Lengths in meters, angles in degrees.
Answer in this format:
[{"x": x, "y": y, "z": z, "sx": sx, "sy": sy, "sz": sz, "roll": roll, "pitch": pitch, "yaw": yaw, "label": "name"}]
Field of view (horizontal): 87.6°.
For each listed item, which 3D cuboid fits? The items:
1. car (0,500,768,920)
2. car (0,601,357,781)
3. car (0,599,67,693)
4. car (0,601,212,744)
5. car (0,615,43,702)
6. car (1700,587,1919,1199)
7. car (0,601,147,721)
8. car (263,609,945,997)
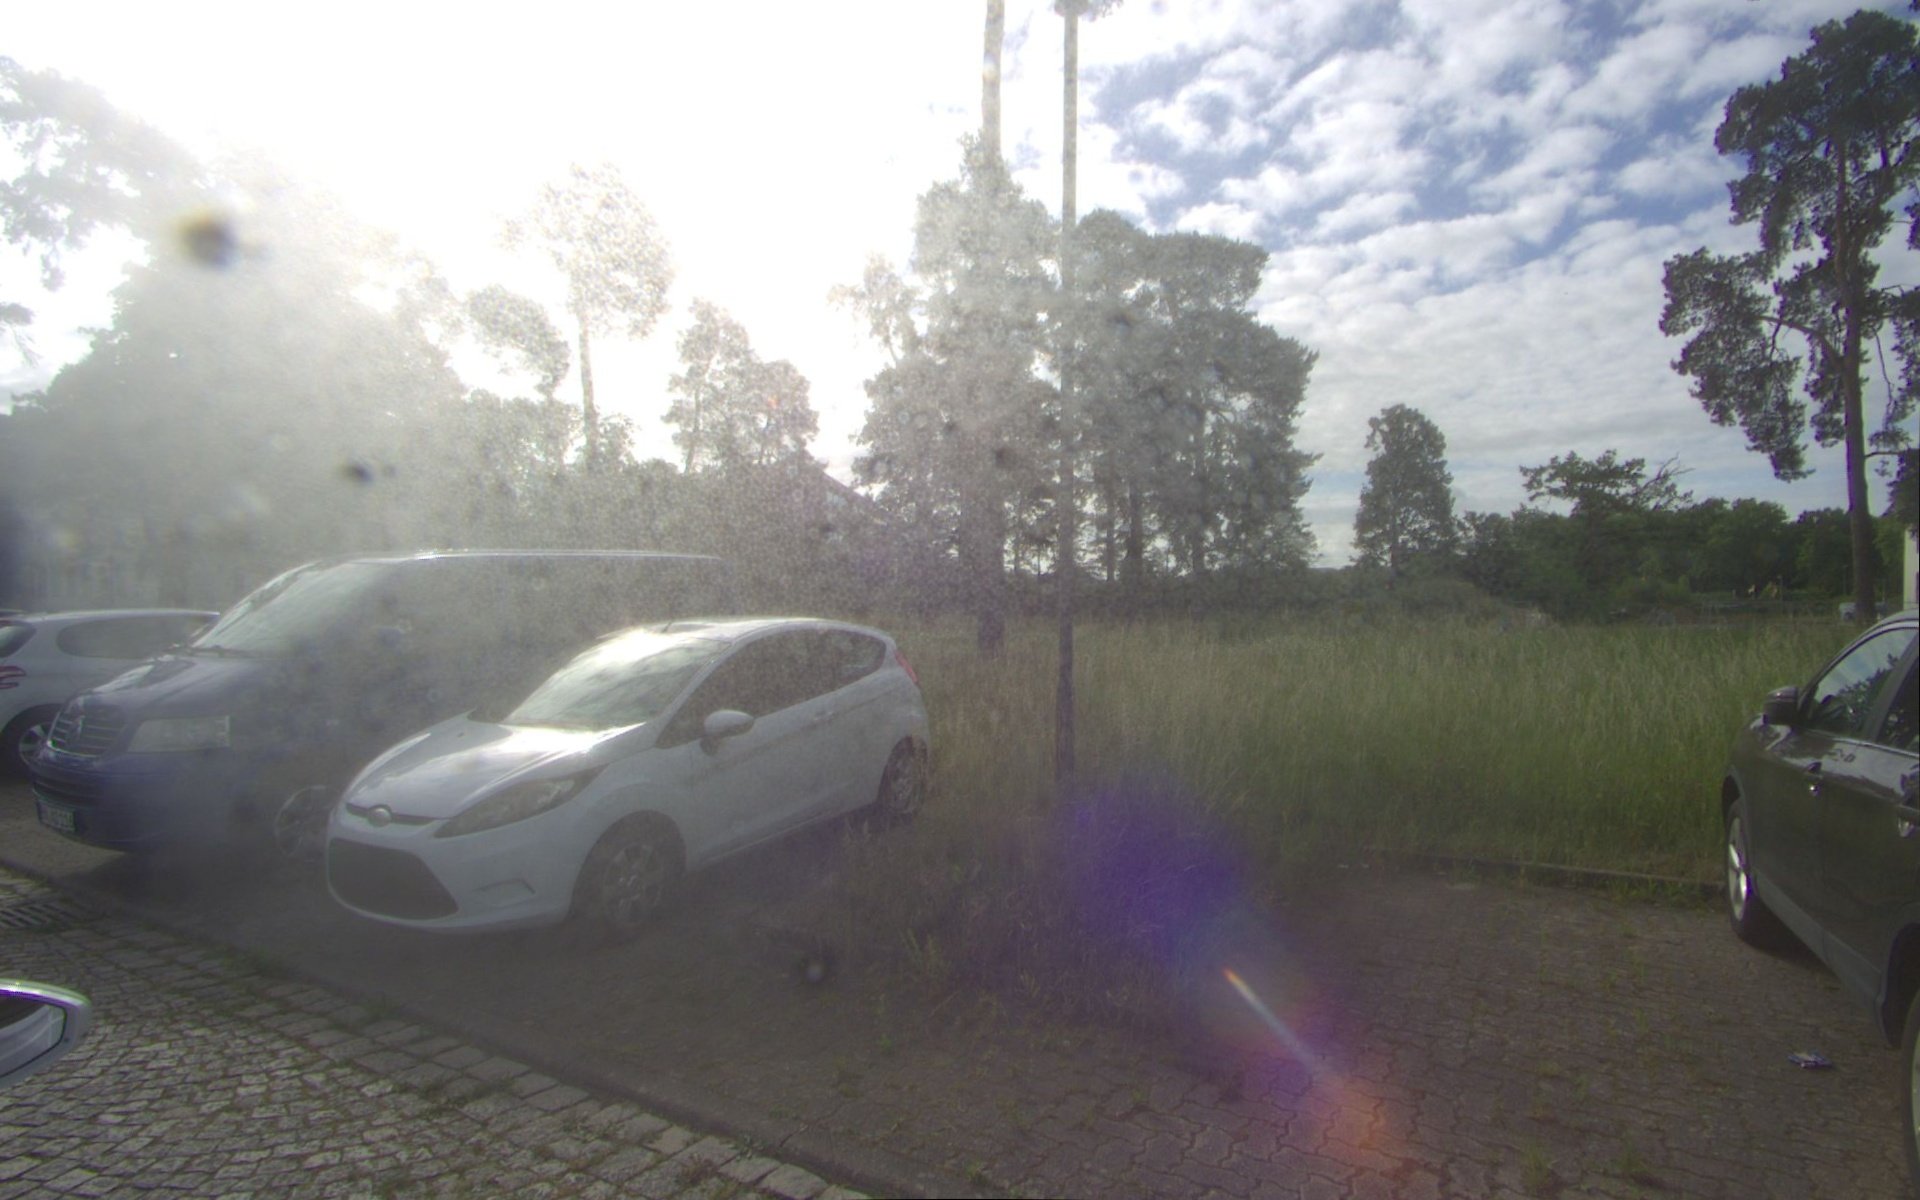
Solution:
[{"x": -3.669, "y": 0.563, "z": 7.438, "sx": 1.712, "sy": 2.067, "sz": 4.776, "roll": 1, "pitch": 0, "yaw": 30, "label": "car"}, {"x": -8.231, "y": 0.783, "z": 10.144, "sx": 1.638, "sy": 1.524, "sz": 3.289, "roll": 1, "pitch": 0, "yaw": 29, "label": "car"}, {"x": -17.154, "y": 0.748, "z": 16.005, "sx": 1.637, "sy": 1.564, "sz": 3.987, "roll": 1, "pitch": 0, "yaw": 25, "label": "car"}, {"x": -10.926, "y": 0.775, "z": 11.364, "sx": 1.635, "sy": 1.526, "sz": 3.602, "roll": 1, "pitch": 0, "yaw": 20, "label": "car"}, {"x": -15.583, "y": 0.872, "z": 14.317, "sx": 1.637, "sy": 1.284, "sz": 3.292, "roll": 1, "pitch": 0, "yaw": 25, "label": "car"}, {"x": 3.641, "y": 0.789, "z": 3.036, "sx": 1.735, "sy": 1.601, "sz": 3.946, "roll": 1, "pitch": 0, "yaw": 29, "label": "car"}, {"x": -13.105, "y": 0.785, "z": 13.249, "sx": 1.635, "sy": 1.524, "sz": 3.296, "roll": 1, "pitch": 0, "yaw": 20, "label": "car"}, {"x": -1.699, "y": 0.826, "z": 5.990, "sx": 1.629, "sy": 1.443, "sz": 3.718, "roll": 1, "pitch": 1, "yaw": 28, "label": "car"}]
